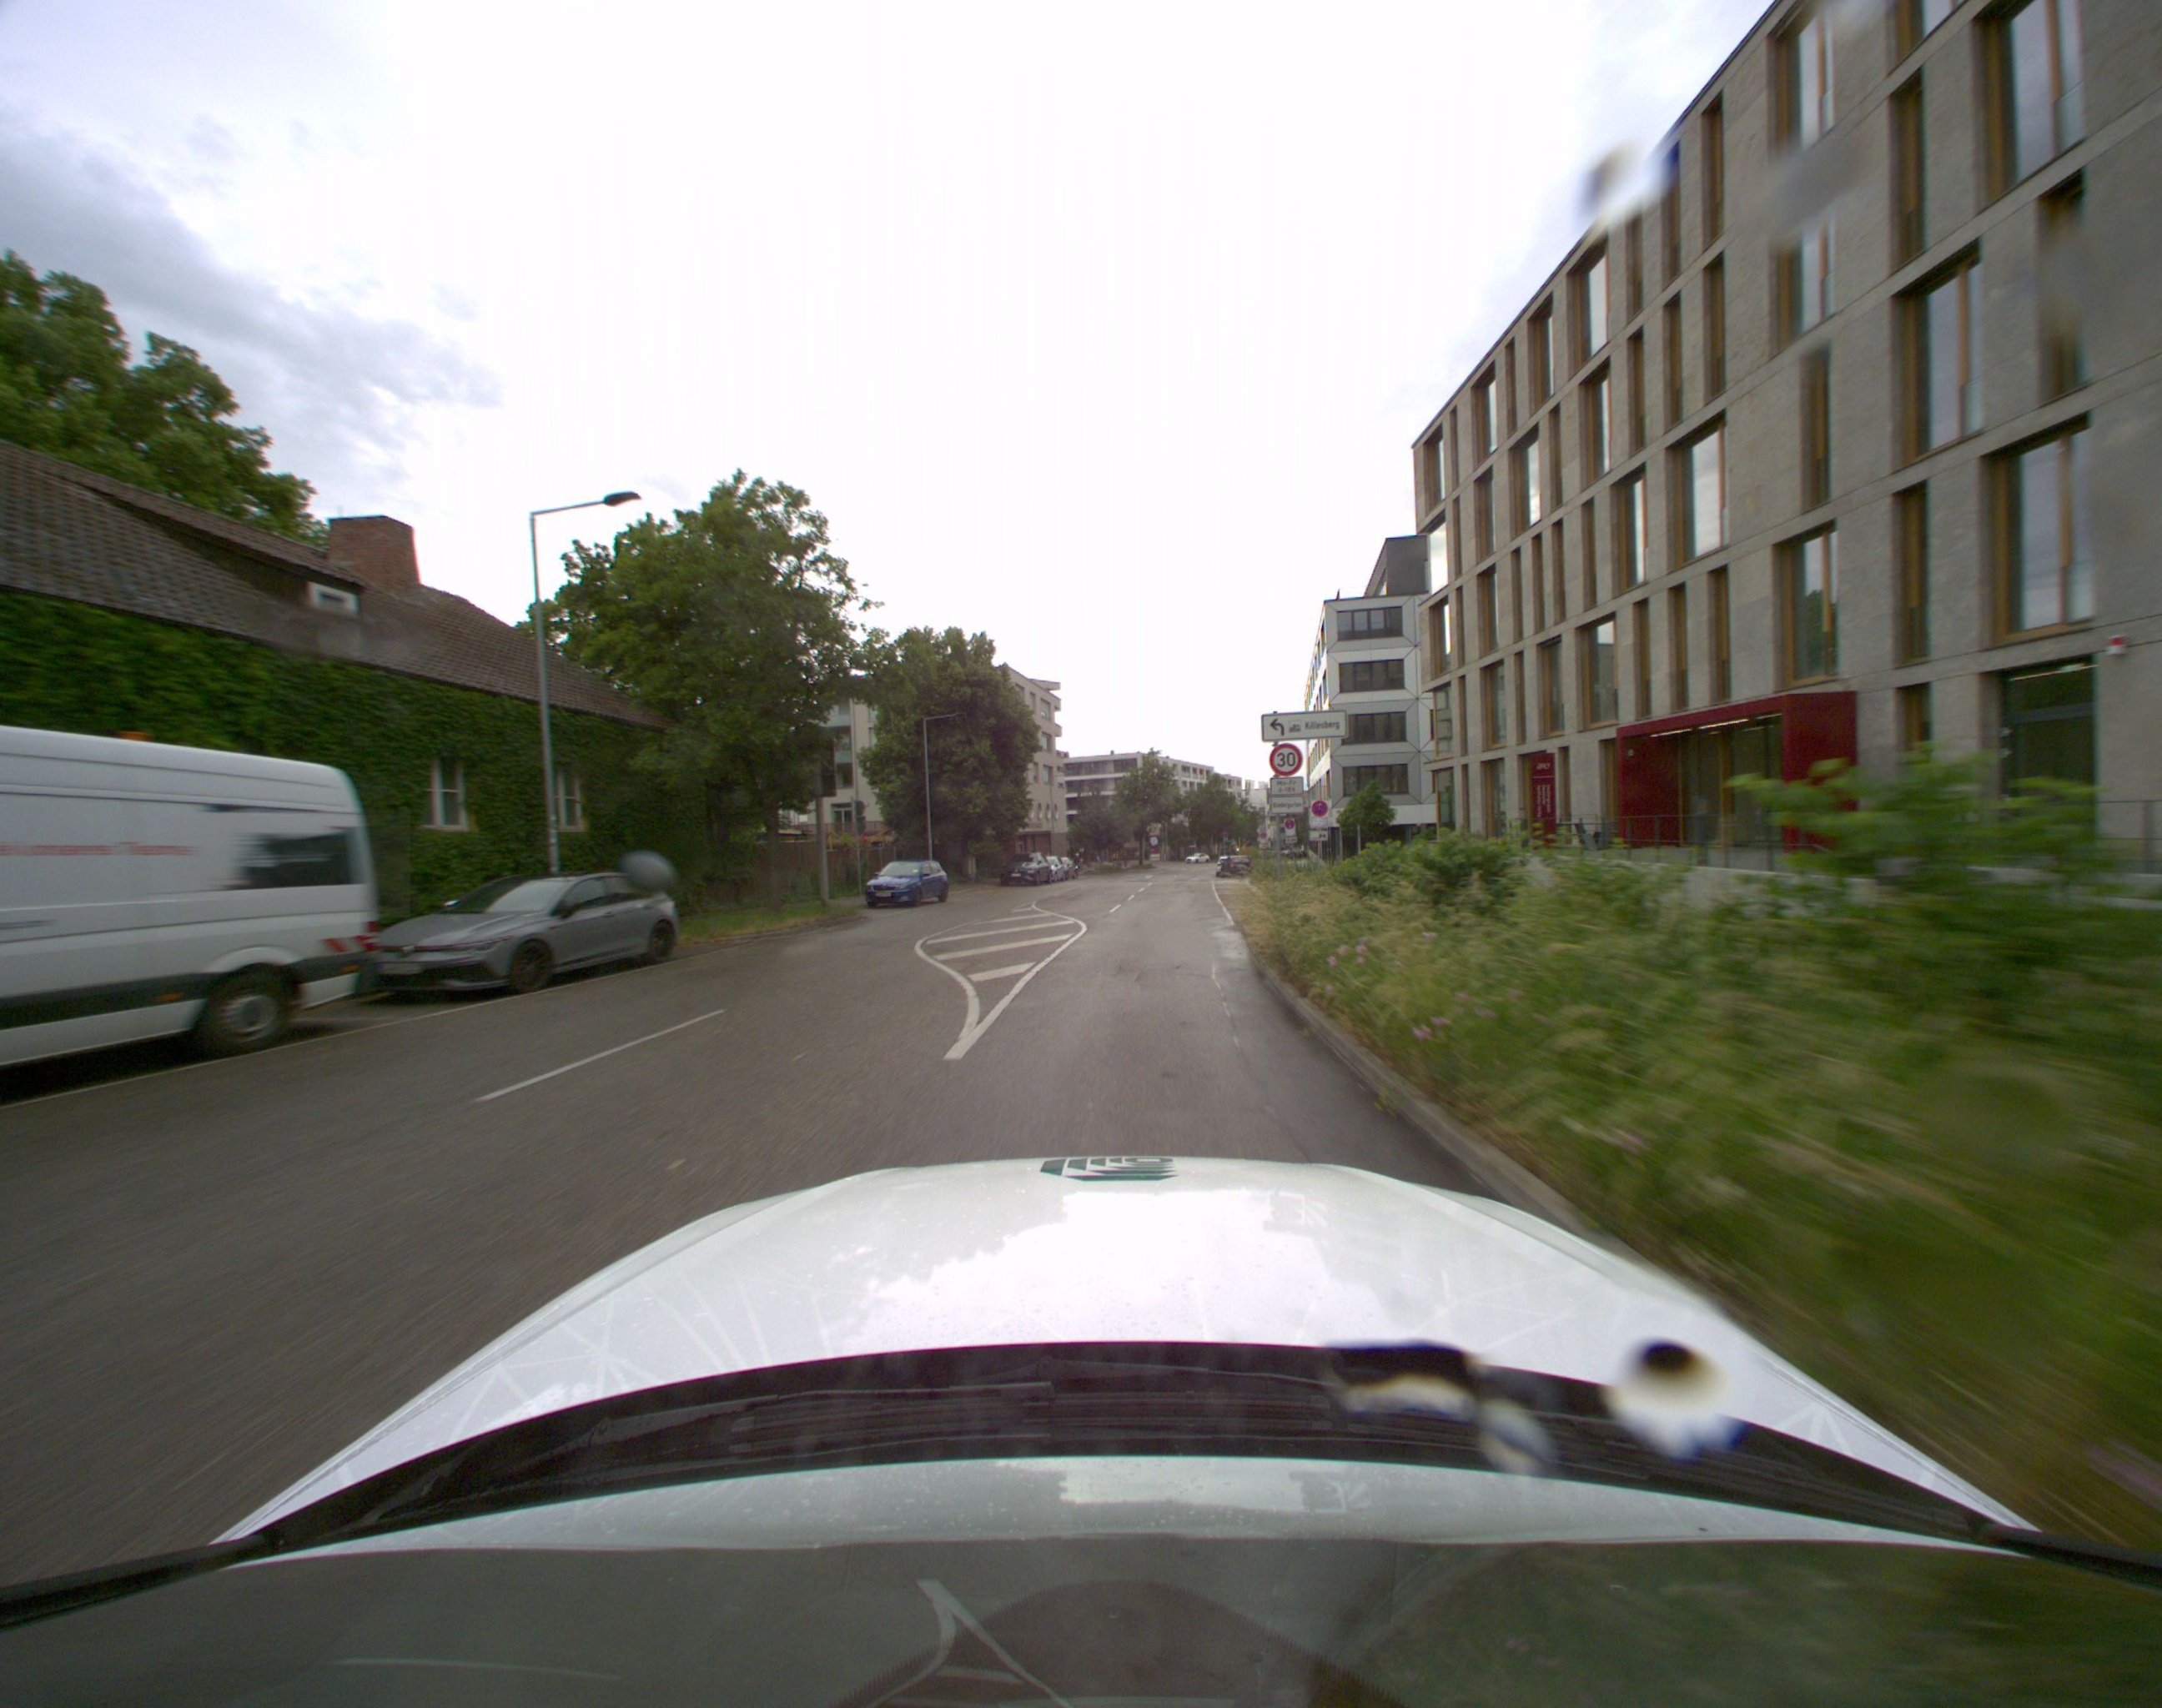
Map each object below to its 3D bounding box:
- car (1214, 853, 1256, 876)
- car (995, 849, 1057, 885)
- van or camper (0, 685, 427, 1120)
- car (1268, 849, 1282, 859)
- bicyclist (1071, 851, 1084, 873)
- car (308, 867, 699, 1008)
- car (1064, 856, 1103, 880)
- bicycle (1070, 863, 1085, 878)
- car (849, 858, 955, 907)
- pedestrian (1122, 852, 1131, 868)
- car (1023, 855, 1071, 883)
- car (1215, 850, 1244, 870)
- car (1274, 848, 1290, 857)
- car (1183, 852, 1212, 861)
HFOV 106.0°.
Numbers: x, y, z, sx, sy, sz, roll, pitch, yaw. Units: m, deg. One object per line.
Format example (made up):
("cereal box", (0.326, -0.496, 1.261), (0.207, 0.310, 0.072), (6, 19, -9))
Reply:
("car", (10.537, 0.684, 56.028), (2.038, 1.458, 4.053), (-1, 0, -1))
("car", (-2.870, 0.676, 44.053), (1.981, 1.786, 5.427), (-1, 0, 11))
("van or camper", (-8.036, 0.322, 5.247), (2.330, 2.765, 6.149), (-1, 0, 4))
("car", (30.755, -0.007, 128.989), (1.532, 1.478, 3.682), (-1, 1, 25))
("bicyclist", (-0.252, 0.546, 57.755), (0.797, 1.523, 1.203), (-1, 0, 4))
("car", (-7.529, 0.974, 11.328), (1.984, 1.512, 4.430), (-1, 0, 6))
("car", (0.198, 0.909, 54.010), (1.867, 1.463, 3.858), (-1, 0, 11))
("bicycle", (-0.241, 1.165, 57.730), (0.798, 0.979, 2.258), (-1, 0, 5))
("car", (-5.807, 0.894, 27.024), (1.981, 1.470, 4.197), (-1, 0, 10))
("pedestrian", (5.594, 0.761, 100.898), (1.051, 2.014, 1.100), (-1, -1, 3))
("car", (-2.020, 0.901, 49.844), (1.977, 1.593, 4.502), (-1, 0, 10))
("car", (11.185, 0.426, 61.226), (2.027, 1.464, 4.516), (-1, 0, 10))
("car", (32.986, -0.278, 133.819), (1.791, 1.484, 4.520), (-1, 0, 23))
("car", (17.749, 0.348, 123.733), (1.975, 1.292, 4.731), (-1, 0, 43))
